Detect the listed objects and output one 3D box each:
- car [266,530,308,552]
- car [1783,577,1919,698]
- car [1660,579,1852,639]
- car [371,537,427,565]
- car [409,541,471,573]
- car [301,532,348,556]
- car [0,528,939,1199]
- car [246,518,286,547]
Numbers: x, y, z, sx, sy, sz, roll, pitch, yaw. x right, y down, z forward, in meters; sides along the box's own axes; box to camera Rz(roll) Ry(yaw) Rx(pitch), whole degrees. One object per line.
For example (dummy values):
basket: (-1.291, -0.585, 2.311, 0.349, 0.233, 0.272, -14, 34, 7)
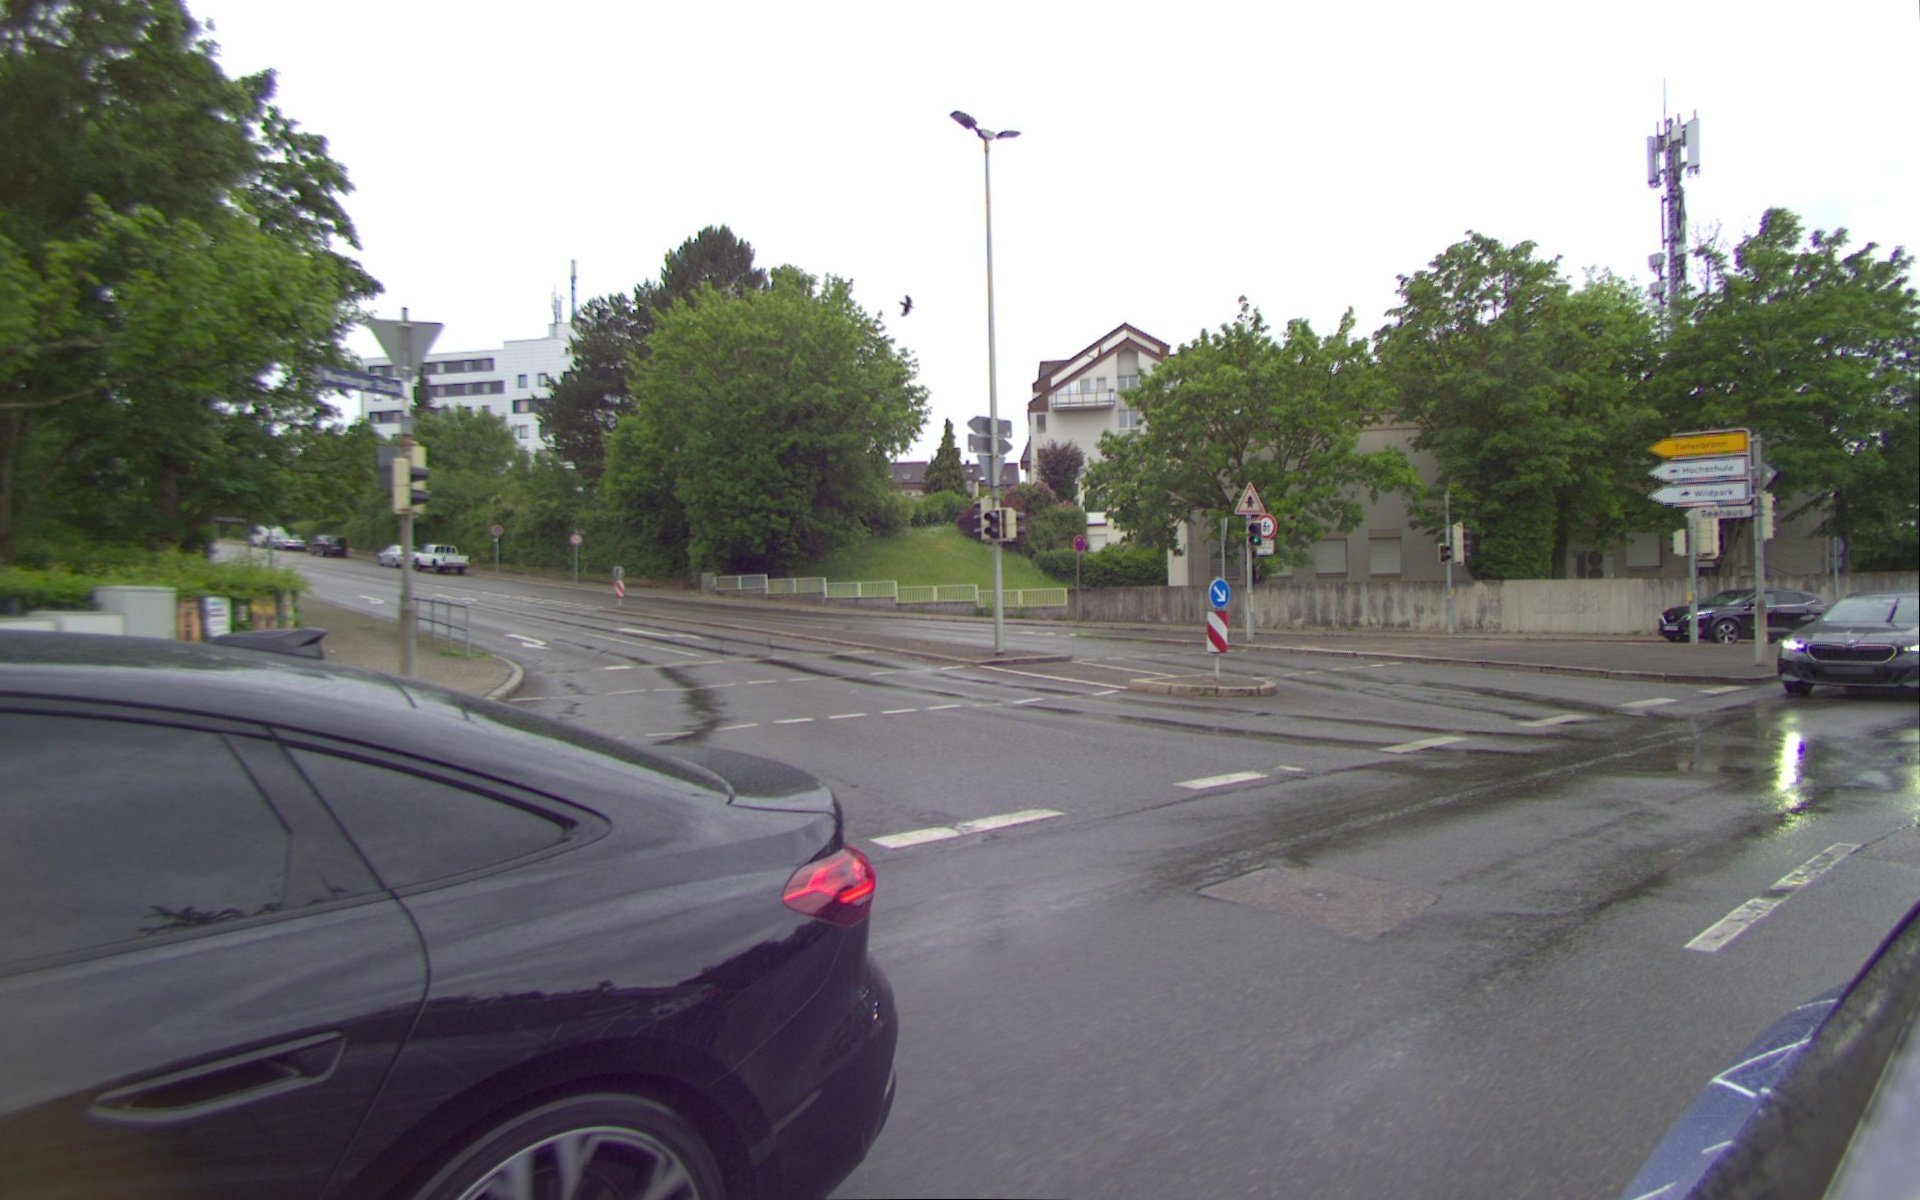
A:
car: (-57.548, -5.029, 86.502, 3.982, 1.828, 1.972, 2, 3, 40)
car: (13.782, 0.457, 14.699, 3.925, 1.538, 1.873, -2, 1, -36)
car: (22.057, 0.227, 28.150, 3.925, 1.571, 1.694, -1, 1, 2)
car: (-37.247, -3.236, 67.165, 3.982, 1.828, 1.972, 2, 3, 40)
car: (-32.149, -2.641, 62.575, 4.192, 1.900, 1.972, 2, 3, 40)
car: (-49.381, -4.354, 78.595, 3.982, 1.828, 1.972, 2, 3, 40)
car: (-2.386, 0.656, 1.265, 4.659, 1.442, 1.868, -2, 1, -43)
car: (-61.774, -5.988, 90.112, 3.982, 2.417, 1.972, 2, 3, 40)
